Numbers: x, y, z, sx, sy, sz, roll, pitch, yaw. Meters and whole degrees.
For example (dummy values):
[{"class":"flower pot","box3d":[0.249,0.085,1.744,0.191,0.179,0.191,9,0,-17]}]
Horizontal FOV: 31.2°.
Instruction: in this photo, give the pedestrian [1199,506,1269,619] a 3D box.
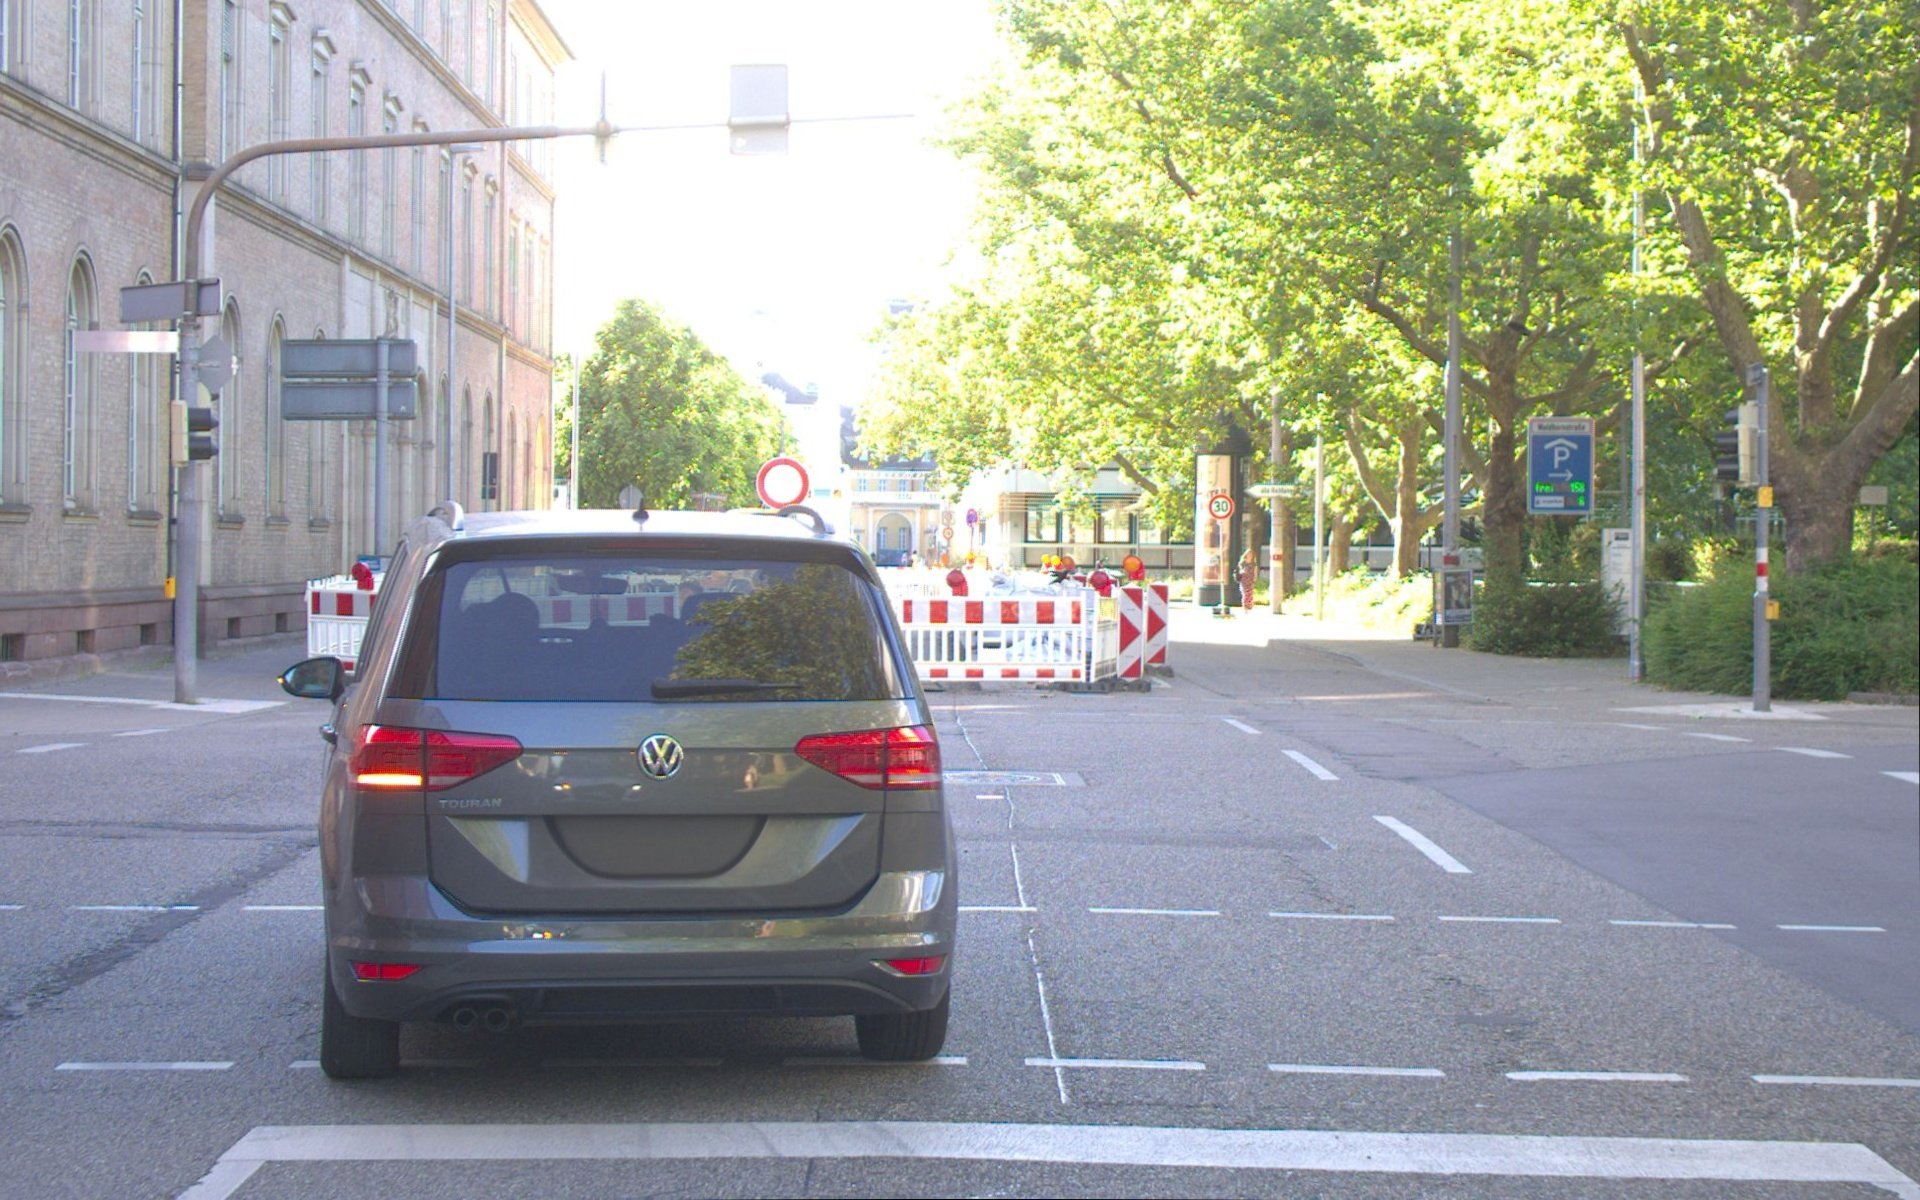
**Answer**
[{"class":"pedestrian","box3d":[6.553,-0.894,82.258,1.419,2.658,1.148,1,0,-9]}]

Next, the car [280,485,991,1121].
[{"class":"car","box3d":[-1.202,0.479,10.786,1.761,1.601,4.001,0,1,-12]}]

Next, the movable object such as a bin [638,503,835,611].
[{"class":"movable object such as a bin","box3d":[-5.901,-1.135,90.357,4.838,2.767,2.468,1,1,42]}]
